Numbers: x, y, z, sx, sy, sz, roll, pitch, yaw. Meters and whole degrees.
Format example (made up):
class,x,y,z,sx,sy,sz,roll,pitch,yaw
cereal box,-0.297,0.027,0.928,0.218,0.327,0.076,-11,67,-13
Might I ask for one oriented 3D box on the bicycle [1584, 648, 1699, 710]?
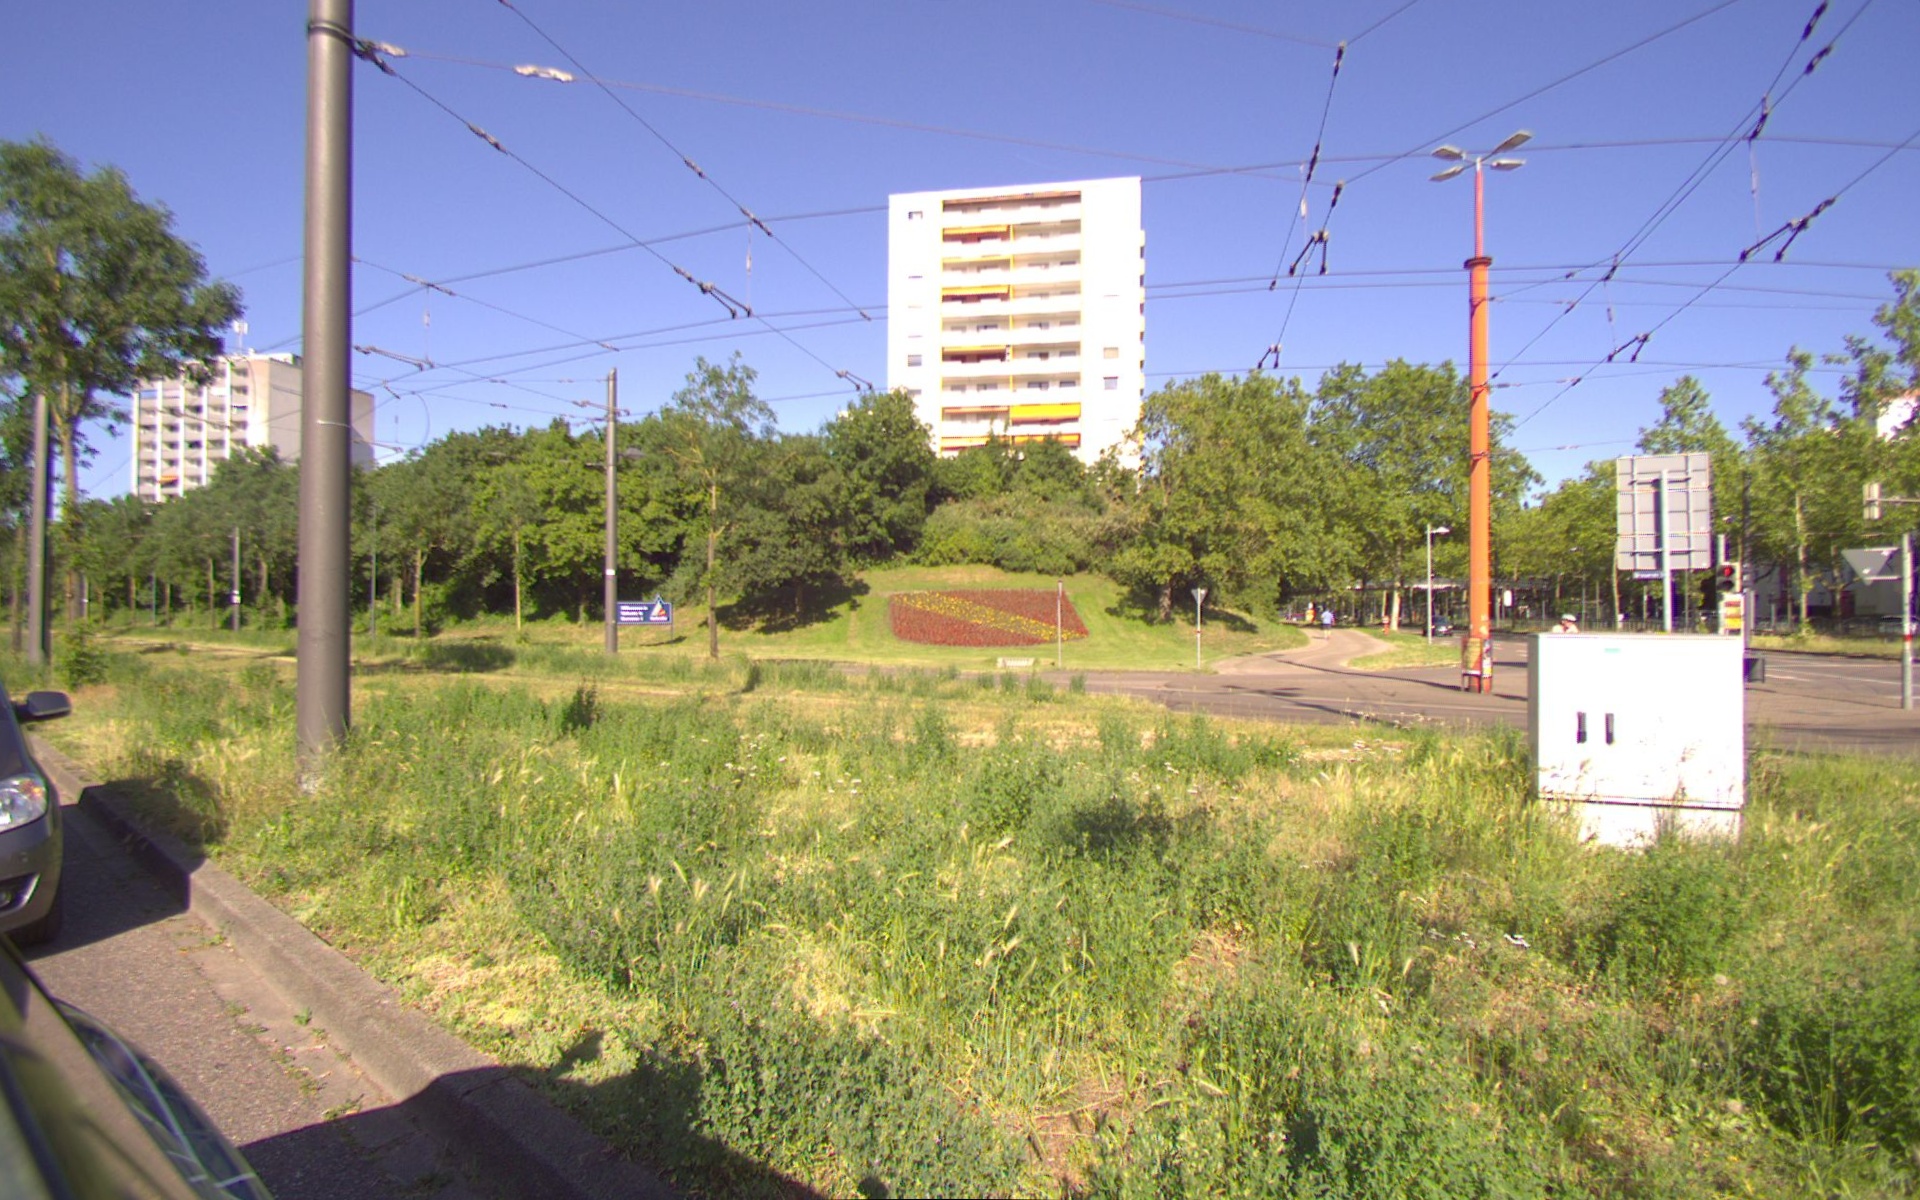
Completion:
class,x,y,z,sx,sy,sz,roll,pitch,yaw
bicycle,13.356,1.523,19.903,0.915,1.095,1.888,0,-1,-2

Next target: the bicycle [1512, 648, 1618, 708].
class,x,y,z,sx,sy,sz,roll,pitch,yaw
bicycle,12.090,1.538,20.305,0.915,1.095,1.888,0,-1,-2

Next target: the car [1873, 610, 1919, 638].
class,x,y,z,sx,sy,sz,roll,pitch,yaw
car,65.244,1.653,69.856,3.931,1.829,2.006,1,-2,-27

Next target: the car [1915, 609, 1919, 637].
class,x,y,z,sx,sy,sz,roll,pitch,yaw
car,64.402,1.515,65.894,3.931,1.829,2.006,1,-2,-27

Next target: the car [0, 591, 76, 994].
class,x,y,z,sx,sy,sz,roll,pitch,yaw
car,-5.940,0.799,5.029,4.382,1.619,1.754,-1,-2,41

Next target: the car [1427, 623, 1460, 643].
class,x,y,z,sx,sy,sz,roll,pitch,yaw
car,38.559,2.619,80.791,1.928,1.606,3.882,-1,-1,20

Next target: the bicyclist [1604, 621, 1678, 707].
class,x,y,z,sx,sy,sz,roll,pitch,yaw
bicyclist,13.352,1.244,19.870,0.920,1.650,0.741,0,-1,-1

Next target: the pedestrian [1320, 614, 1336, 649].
class,x,y,z,sx,sy,sz,roll,pitch,yaw
pedestrian,20.388,1.754,56.074,0.729,1.949,0.726,-1,-2,24

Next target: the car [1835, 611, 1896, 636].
class,x,y,z,sx,sy,sz,roll,pitch,yaw
car,66.012,1.710,73.752,3.931,1.829,2.006,1,-2,-27

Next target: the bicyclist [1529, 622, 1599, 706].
class,x,y,z,sx,sy,sz,roll,pitch,yaw
bicyclist,12.095,1.261,20.289,0.920,1.650,0.741,0,-1,-1
